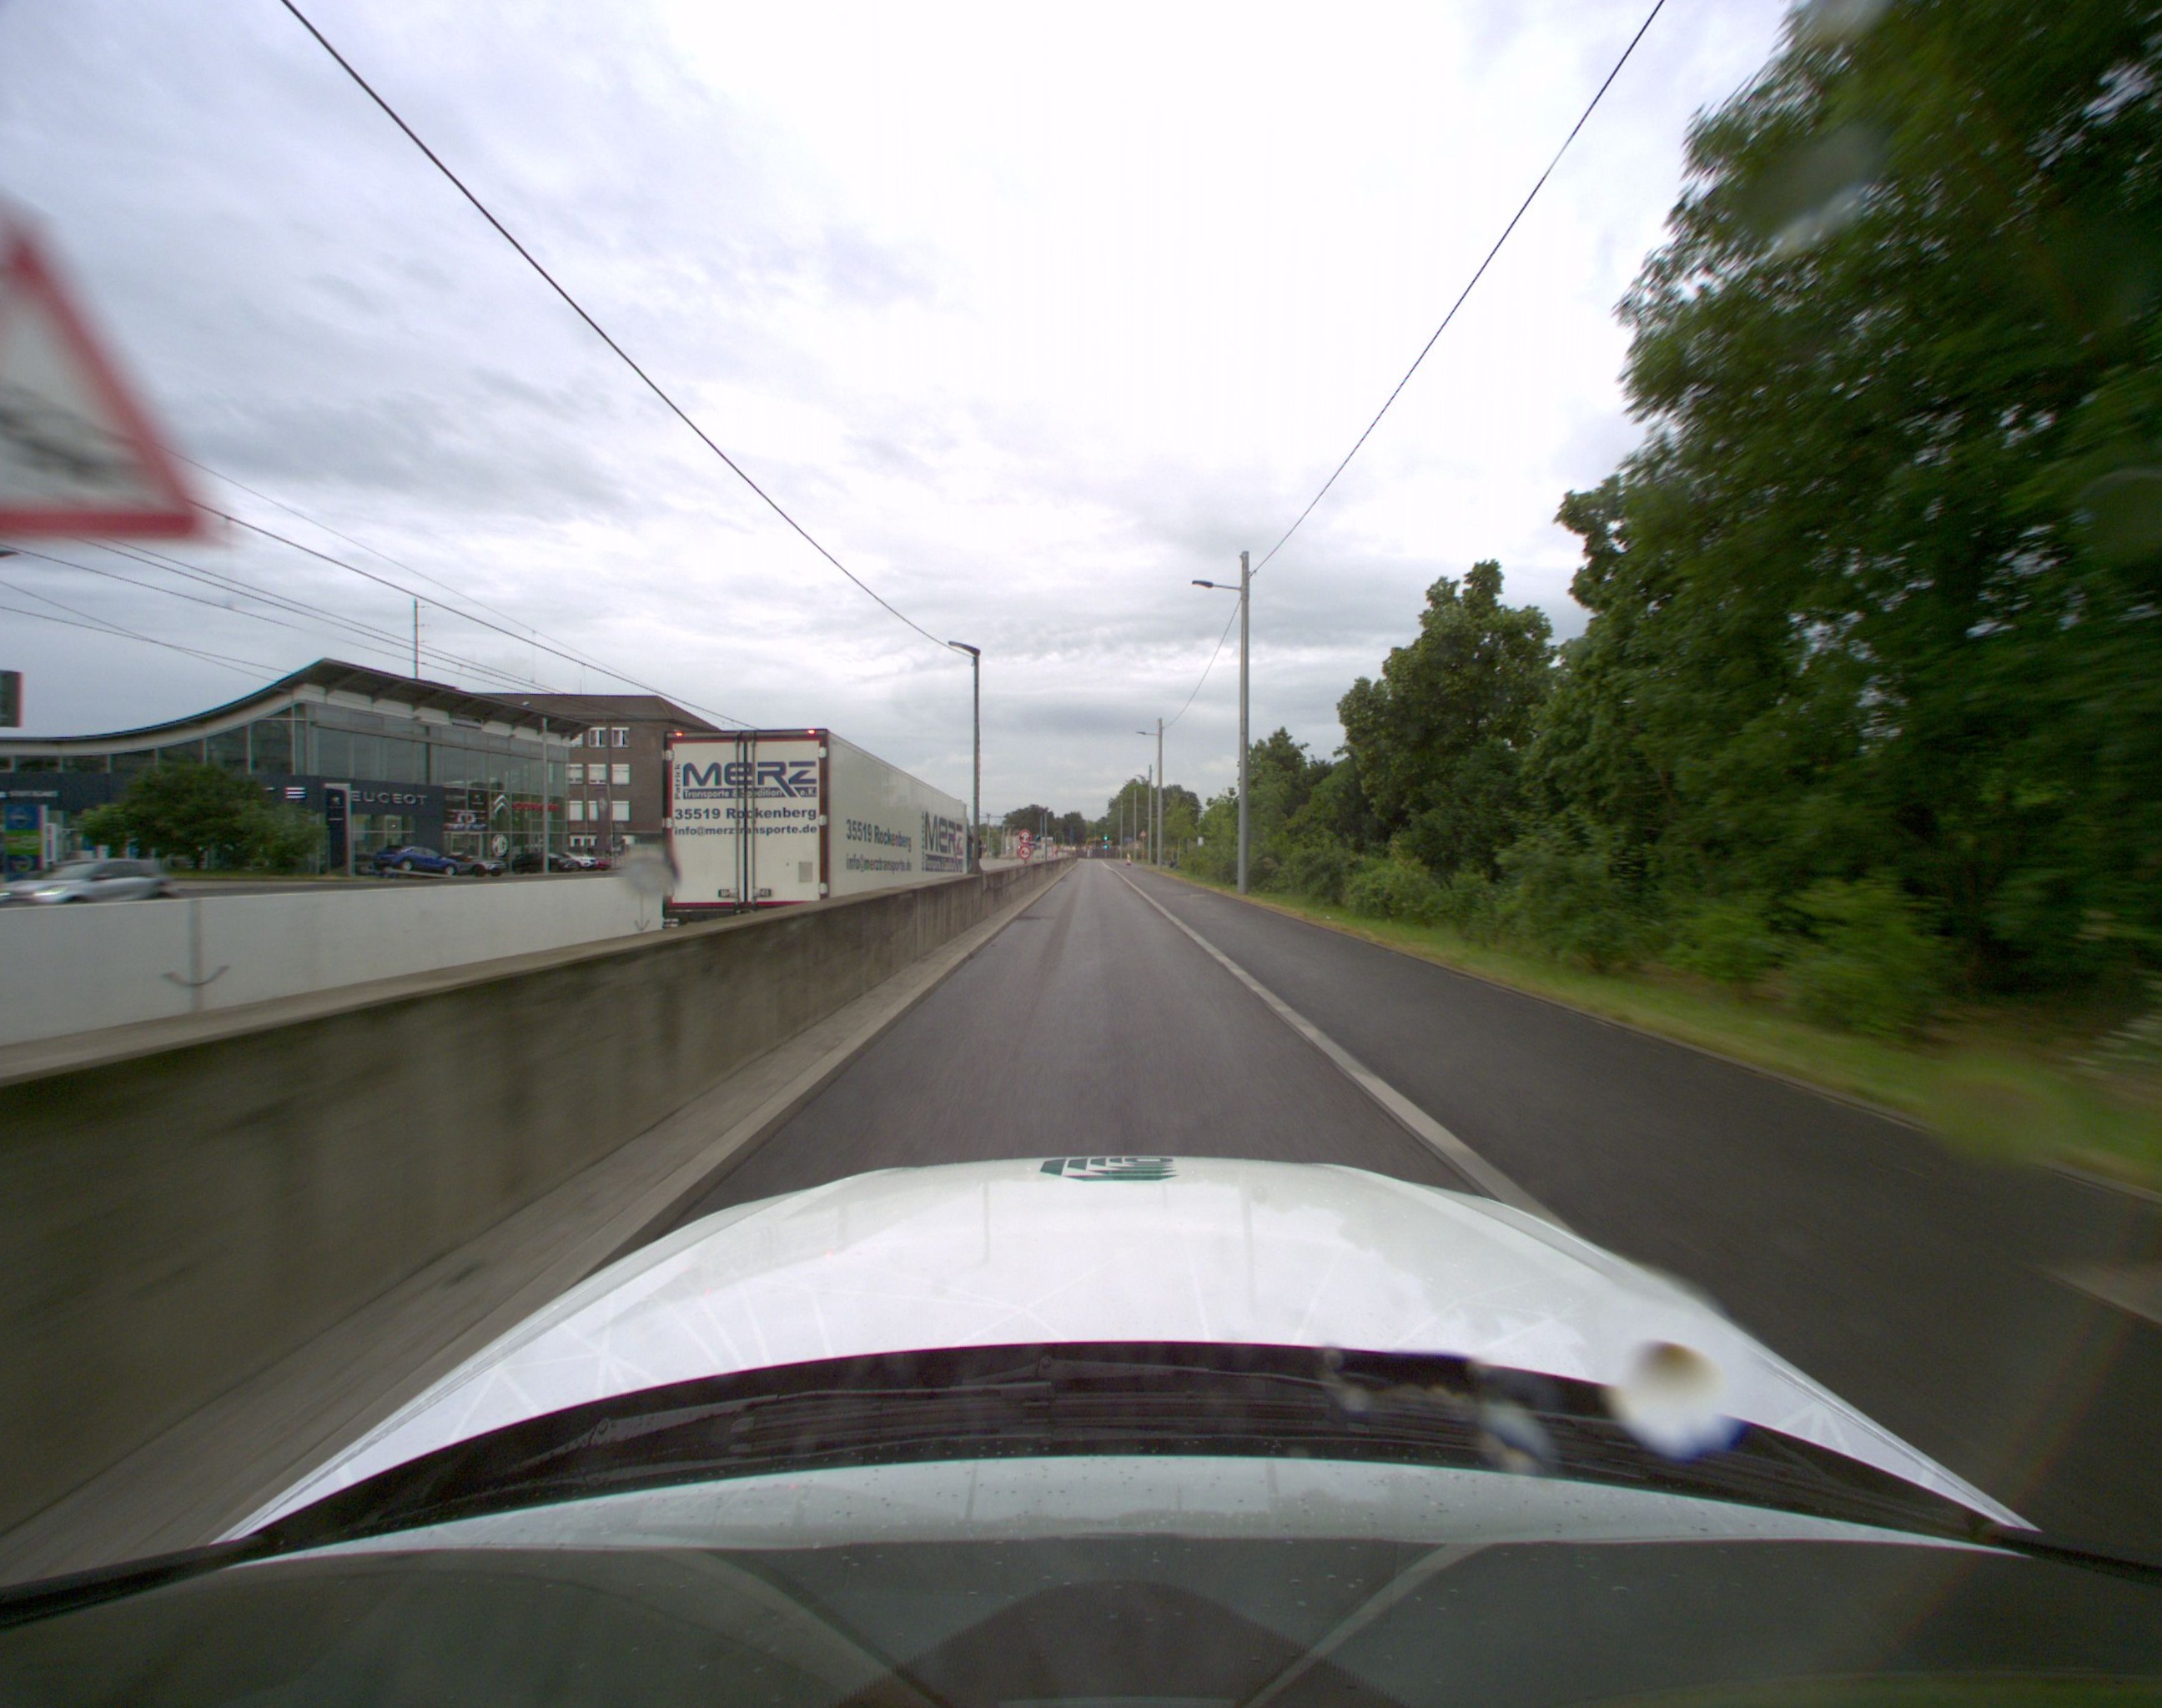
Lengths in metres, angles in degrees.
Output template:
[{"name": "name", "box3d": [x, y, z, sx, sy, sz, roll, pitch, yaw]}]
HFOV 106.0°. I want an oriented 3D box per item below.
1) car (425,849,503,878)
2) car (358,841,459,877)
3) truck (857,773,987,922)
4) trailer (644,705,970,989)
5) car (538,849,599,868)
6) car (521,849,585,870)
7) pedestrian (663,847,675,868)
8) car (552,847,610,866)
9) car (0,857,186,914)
[{"name": "car", "box3d": [-38.719, 0.583, 51.138, 3.495, 1.402, 1.573, -6, 2, -3]}, {"name": "car", "box3d": [-38.082, 0.325, 46.236, 1.750, 1.610, 4.078, -1, -7, 12]}, {"name": "truck", "box3d": [-4.933, -0.229, 26.519, 2.746, 4.204, 6.308, -2, 0, 1]}, {"name": "trailer", "box3d": [-5.082, -0.171, 19.009, 2.752, 4.252, 13.187, -2, 1, 1]}, {"name": "car", "box3d": [-38.760, 0.340, 61.665, 3.468, 1.397, 1.750, -1, 0, 0]}, {"name": "car", "box3d": [-38.193, 0.377, 58.958, 3.468, 1.474, 1.750, -1, 0, 0]}, {"name": "pedestrian", "box3d": [-35.271, 0.274, 69.706, 0.613, 1.750, 0.840, 0, 0, 1]}, {"name": "car", "box3d": [-39.194, 0.218, 63.865, 3.472, 1.382, 1.617, -2, 0, -3]}, {"name": "car", "box3d": [-25.060, 0.755, 20.756, 1.377, 1.299, 2.802, 0, 0, 1]}]
